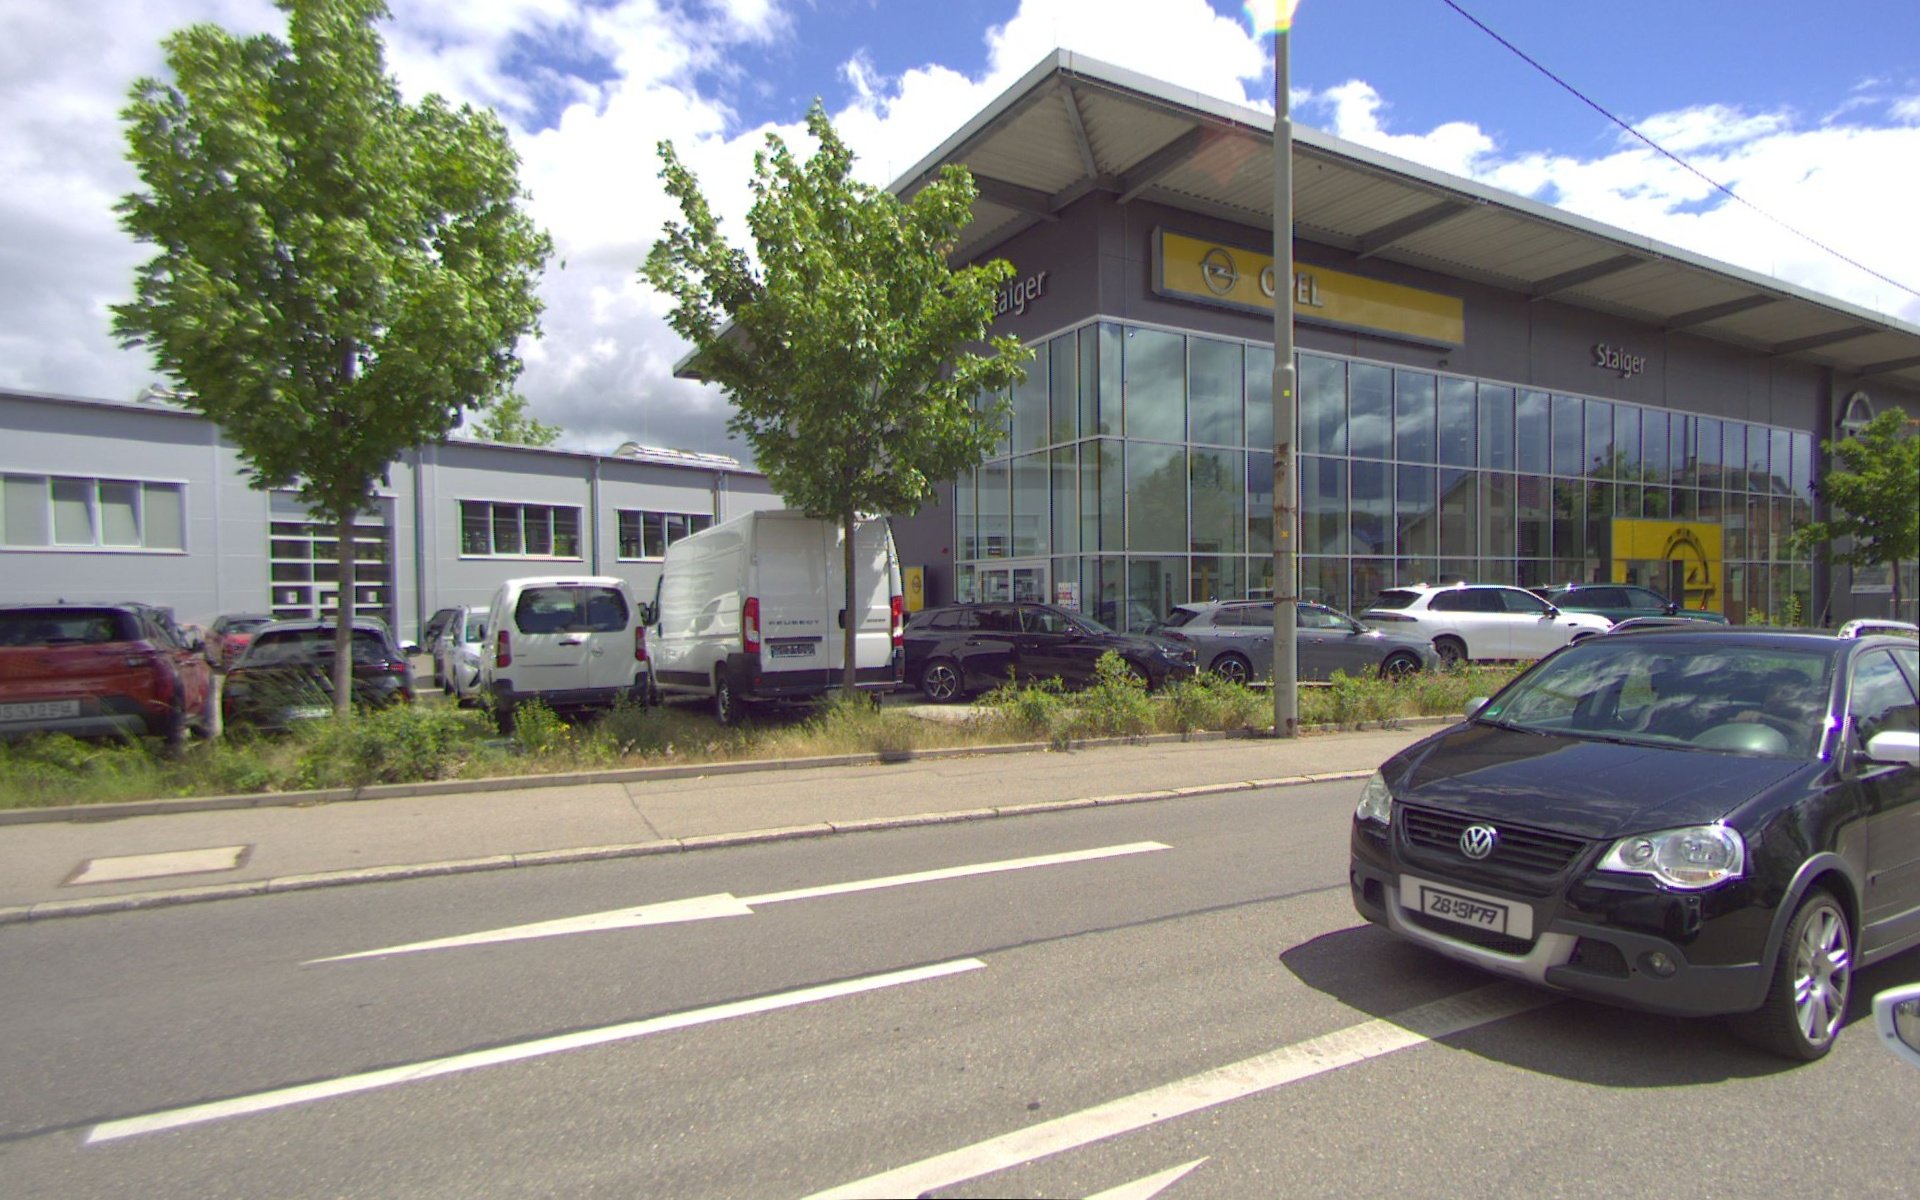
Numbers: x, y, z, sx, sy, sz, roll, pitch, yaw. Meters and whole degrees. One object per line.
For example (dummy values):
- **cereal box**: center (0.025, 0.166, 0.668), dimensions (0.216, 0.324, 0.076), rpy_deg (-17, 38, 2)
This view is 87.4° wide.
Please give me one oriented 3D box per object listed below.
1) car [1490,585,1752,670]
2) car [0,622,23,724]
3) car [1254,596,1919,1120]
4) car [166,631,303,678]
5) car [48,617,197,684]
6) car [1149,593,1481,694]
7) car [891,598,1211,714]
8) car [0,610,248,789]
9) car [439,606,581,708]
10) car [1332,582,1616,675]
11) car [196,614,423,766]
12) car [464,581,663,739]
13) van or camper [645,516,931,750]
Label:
- **car**: center (14.127, 0.546, 21.638), dimensions (4.398, 1.721, 1.999), rpy_deg (0, 1, -4)
- **car**: center (-13.956, 1.034, 12.858), dimensions (1.906, 1.428, 4.208), rpy_deg (1, -1, -30)
- **car**: center (3.582, 0.803, 4.839), dimensions (4.228, 1.529, 1.820), rpy_deg (1, -1, -32)
- **car**: center (-19.105, 1.388, 26.400), dimensions (4.228, 1.037, 1.787), rpy_deg (1, -1, 38)
- **car**: center (-20.498, 1.166, 24.549), dimensions (4.174, 1.428, 1.921), rpy_deg (1, -1, 38)
- **car**: center (5.650, 0.661, 16.377), dimensions (4.738, 1.470, 1.900), rpy_deg (-1, 1, -2)
- **car**: center (1.381, 0.755, 14.846), dimensions (4.388, 1.529, 1.944), rpy_deg (0, -1, 19)
- **car**: center (-9.188, 0.901, 10.700), dimensions (1.974, 1.511, 3.973), rpy_deg (-1, 1, -26)
- **car**: center (-8.074, 0.910, 17.802), dimensions (1.906, 1.556, 4.208), rpy_deg (1, -1, -30)
- **car**: center (9.664, 0.535, 19.073), dimensions (4.468, 1.593, 1.935), rpy_deg (1, -1, -6)
- **car**: center (-7.517, 0.911, 11.917), dimensions (1.906, 1.428, 3.968), rpy_deg (1, -1, -30)
- **car**: center (-5.368, 0.648, 13.296), dimensions (1.975, 1.729, 3.970), rpy_deg (-1, 1, -28)
- **van or camper**: center (-2.579, 0.344, 13.735), dimensions (2.290, 2.565, 5.004), rpy_deg (-1, 1, -30)
